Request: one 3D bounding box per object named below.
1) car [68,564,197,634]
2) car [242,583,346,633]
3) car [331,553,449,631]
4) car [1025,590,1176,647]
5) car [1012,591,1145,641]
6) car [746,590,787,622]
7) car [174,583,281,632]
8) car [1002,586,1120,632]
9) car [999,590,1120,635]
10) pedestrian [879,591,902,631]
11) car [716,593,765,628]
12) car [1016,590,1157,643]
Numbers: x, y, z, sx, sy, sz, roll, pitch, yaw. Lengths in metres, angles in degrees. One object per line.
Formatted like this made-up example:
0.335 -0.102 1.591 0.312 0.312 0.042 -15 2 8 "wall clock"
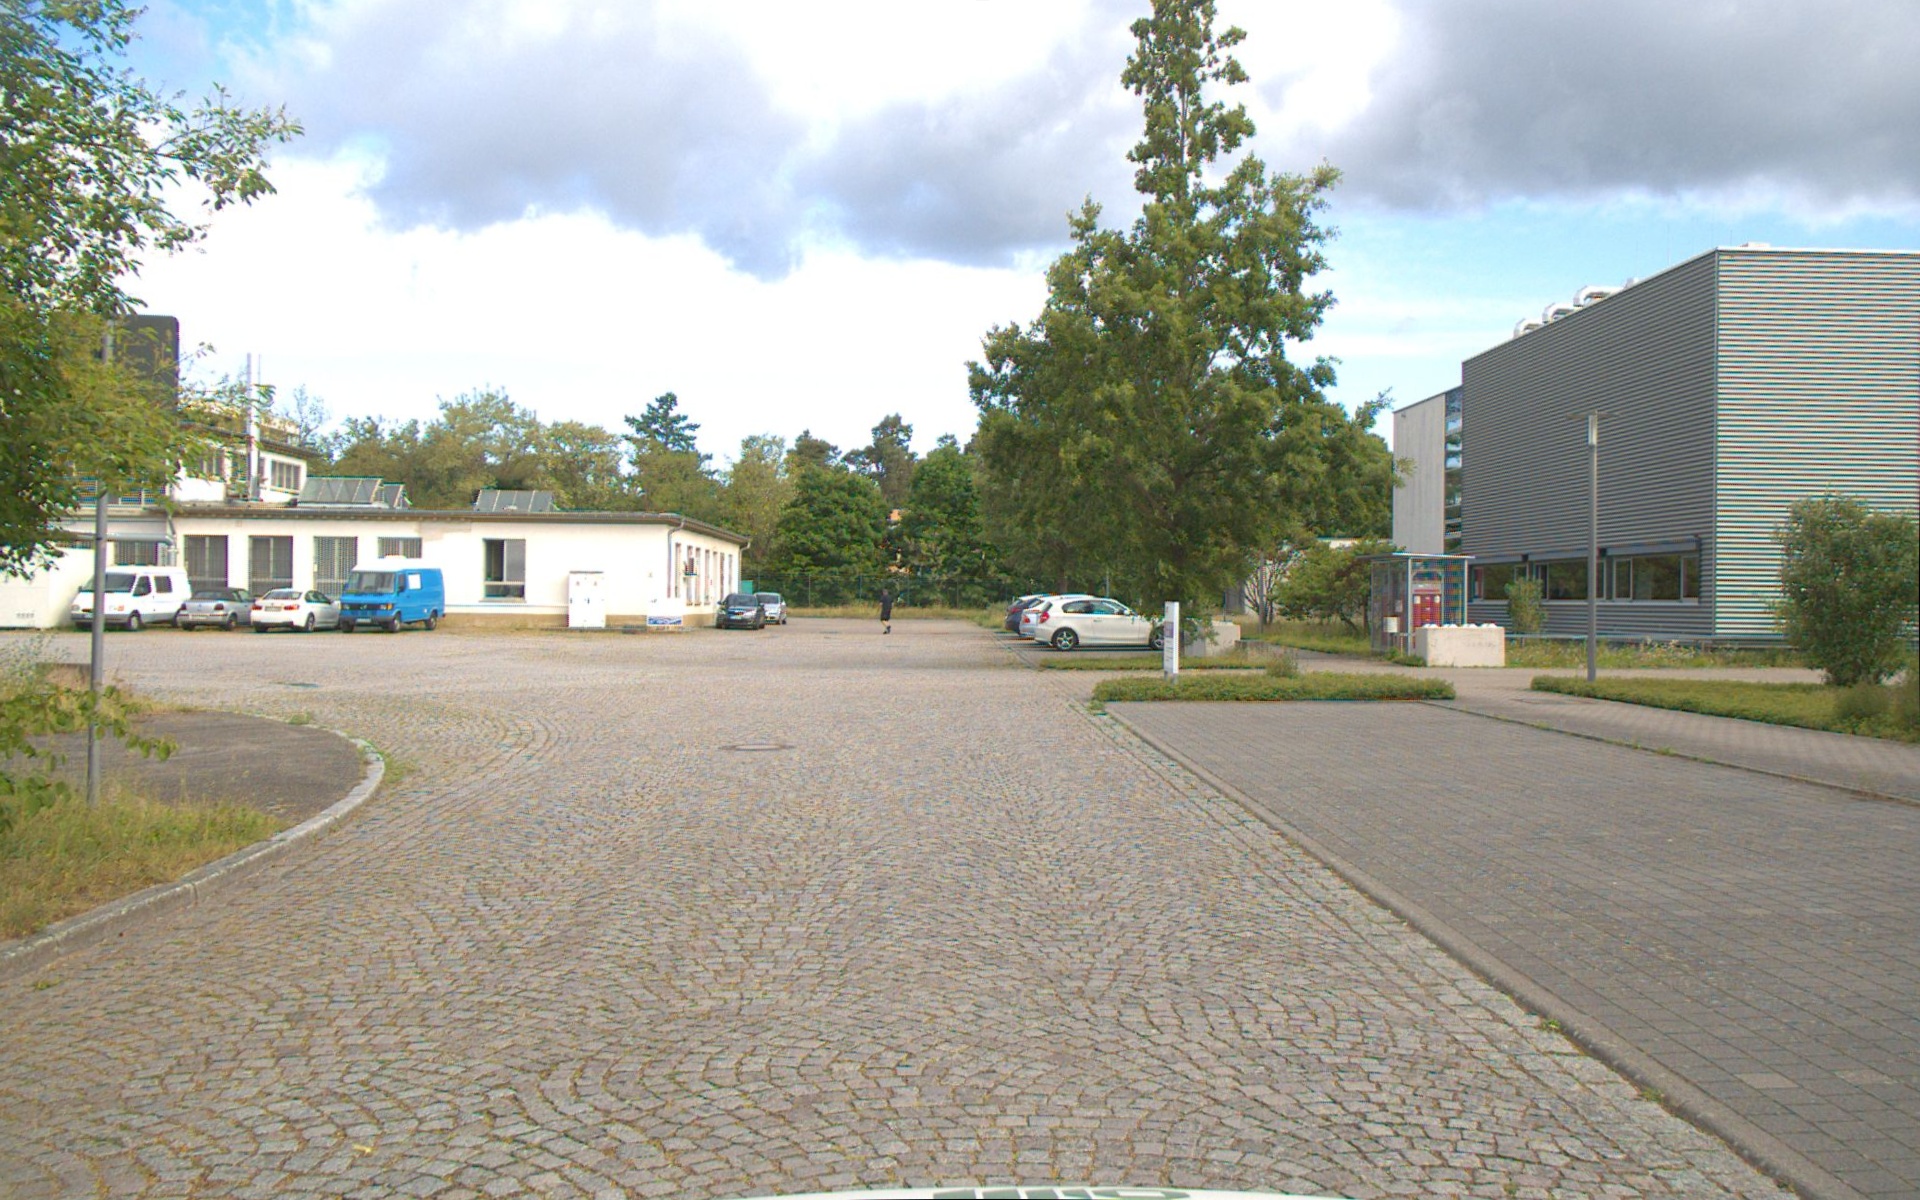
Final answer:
-27.869 -0.033 55.895 1.861 2.245 4.783 0 0 1 "car"
-22.292 0.257 55.542 1.862 1.602 4.000 0 0 0 "car"
-19.514 -0.262 56.892 1.952 2.567 5.619 0 0 2 "car"
3.789 0.510 45.110 3.906 1.481 1.999 1 -1 -1 "car"
3.572 0.473 50.314 3.906 1.481 1.769 0 0 -1 "car"
-9.209 0.289 78.981 1.714 1.480 3.997 0 0 -4 "car"
-24.925 0.231 56.454 1.862 1.602 4.000 0 0 0 "car"
3.537 0.310 58.433 3.909 1.560 1.998 0 0 -5 "car"
3.288 0.419 55.211 3.906 1.481 1.769 0 0 -1 "car"
-2.803 0.450 66.516 0.921 1.596 0.970 0 0 -4 "pedestrian"
-9.101 0.418 68.751 1.714 1.388 3.997 0 0 -4 "car"
3.582 0.467 47.274 3.906 1.481 1.697 0 0 -1 "car"
